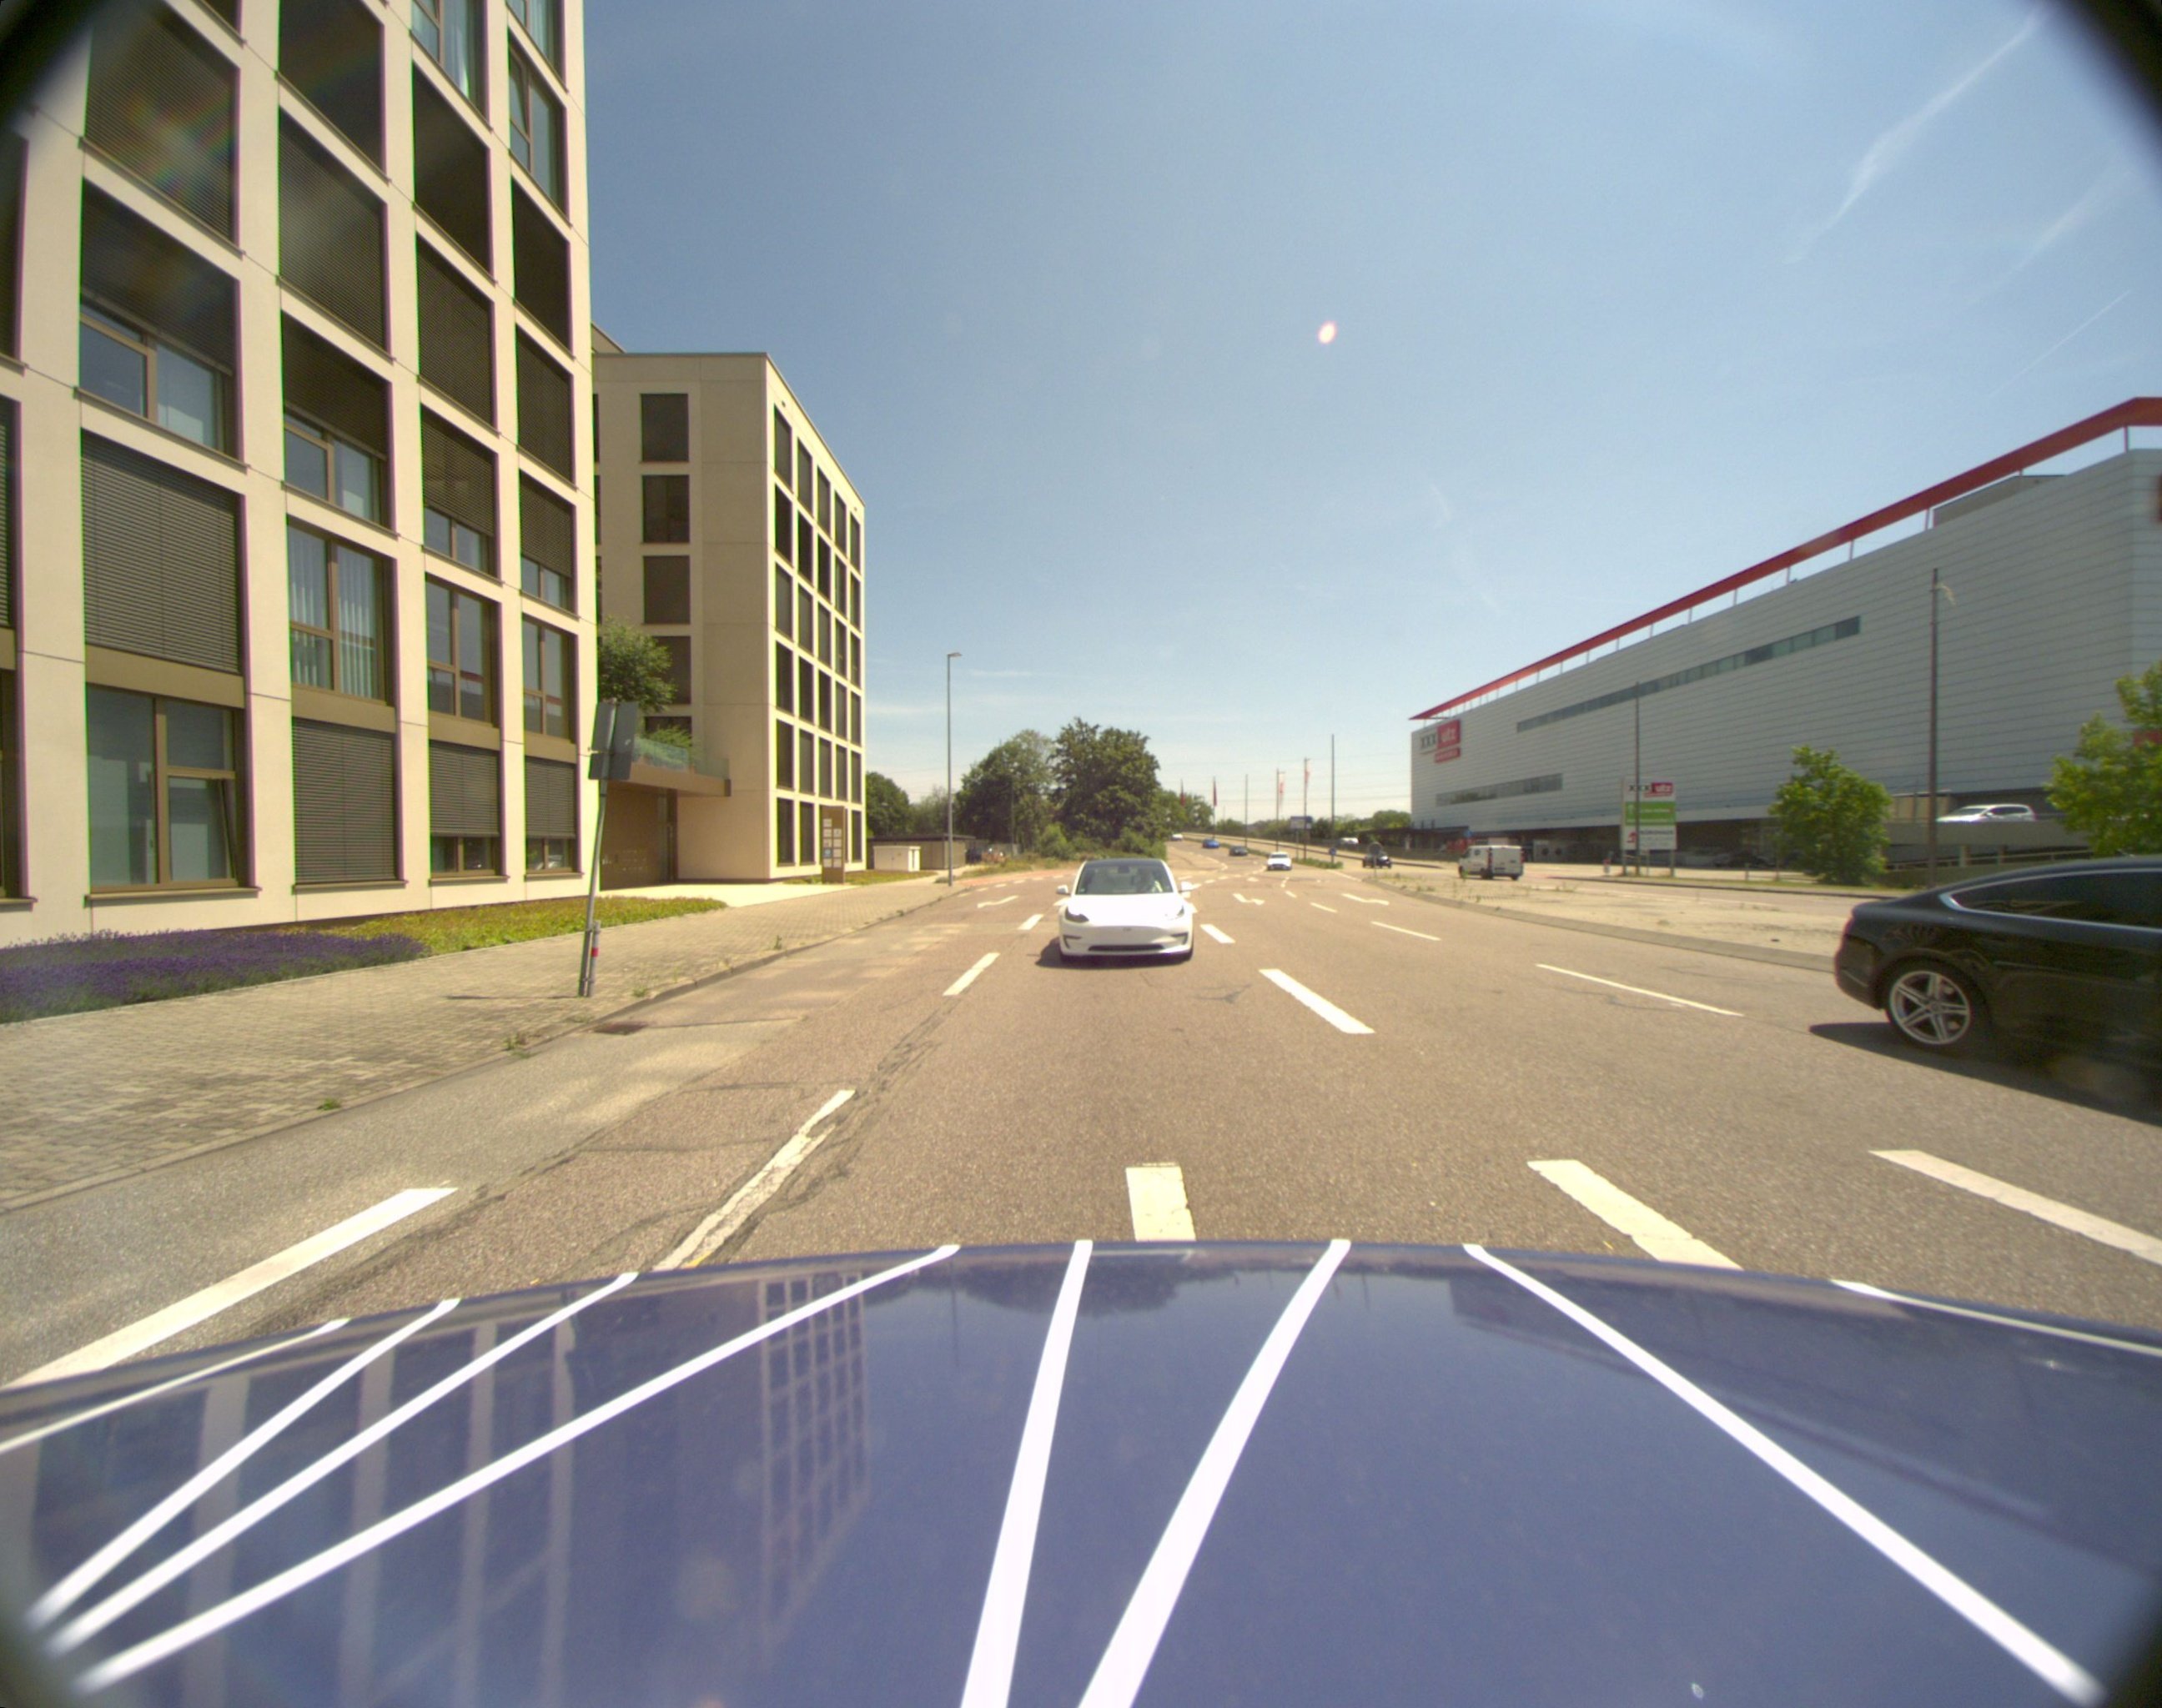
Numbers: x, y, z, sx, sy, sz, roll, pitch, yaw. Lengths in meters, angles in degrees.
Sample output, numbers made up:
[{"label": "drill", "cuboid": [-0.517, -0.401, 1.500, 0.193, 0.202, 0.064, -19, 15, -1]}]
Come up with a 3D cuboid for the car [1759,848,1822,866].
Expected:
[{"label": "car", "cuboid": [60.883, 0.213, 65.216, 3.482, 1.487, 1.959, 0, 1, 2]}]

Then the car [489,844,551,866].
[{"label": "car", "cuboid": [-47.806, 0.027, 64.860, 1.997, 1.841, 4.003, 0, 1, 10]}]

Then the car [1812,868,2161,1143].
[{"label": "car", "cuboid": [6.522, 0.807, 3.620, 1.752, 1.382, 4.533, -1, 0, 1]}]

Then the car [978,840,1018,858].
[{"label": "car", "cuboid": [-9.179, -0.536, 84.135, 4.005, 1.942, 1.996, 0, 1, -25]}]

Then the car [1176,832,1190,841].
[{"label": "car", "cuboid": [18.617, -3.176, 138.842, 1.680, 1.566, 4.054, -1, 0, -7]}]

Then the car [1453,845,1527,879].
[{"label": "car", "cuboid": [23.502, 0.404, 43.884, 1.835, 1.840, 4.841, 1, 1, 3]}]

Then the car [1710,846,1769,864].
[{"label": "car", "cuboid": [60.594, 0.065, 69.929, 3.746, 1.611, 1.911, 0, 1, 0]}]

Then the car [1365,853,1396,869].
[{"label": "car", "cuboid": [26.028, 0.582, 66.105, 1.858, 1.295, 3.897, 1, 0, 12]}]

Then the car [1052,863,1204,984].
[{"label": "car", "cuboid": [0.525, 0.894, 11.732, 1.880, 1.417, 4.405, -1, 0, -2]}]

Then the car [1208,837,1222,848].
[{"label": "car", "cuboid": [21.280, -1.839, 120.859, 1.801, 1.406, 4.405, -2, 3, 6]}]

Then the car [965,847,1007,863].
[{"label": "car", "cuboid": [-9.992, 0.061, 80.121, 4.005, 1.652, 1.834, 0, 1, -23]}]

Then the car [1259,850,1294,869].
[{"label": "car", "cuboid": [15.854, 0.433, 61.882, 1.735, 1.441, 4.230, 0, 0, 0]}]
